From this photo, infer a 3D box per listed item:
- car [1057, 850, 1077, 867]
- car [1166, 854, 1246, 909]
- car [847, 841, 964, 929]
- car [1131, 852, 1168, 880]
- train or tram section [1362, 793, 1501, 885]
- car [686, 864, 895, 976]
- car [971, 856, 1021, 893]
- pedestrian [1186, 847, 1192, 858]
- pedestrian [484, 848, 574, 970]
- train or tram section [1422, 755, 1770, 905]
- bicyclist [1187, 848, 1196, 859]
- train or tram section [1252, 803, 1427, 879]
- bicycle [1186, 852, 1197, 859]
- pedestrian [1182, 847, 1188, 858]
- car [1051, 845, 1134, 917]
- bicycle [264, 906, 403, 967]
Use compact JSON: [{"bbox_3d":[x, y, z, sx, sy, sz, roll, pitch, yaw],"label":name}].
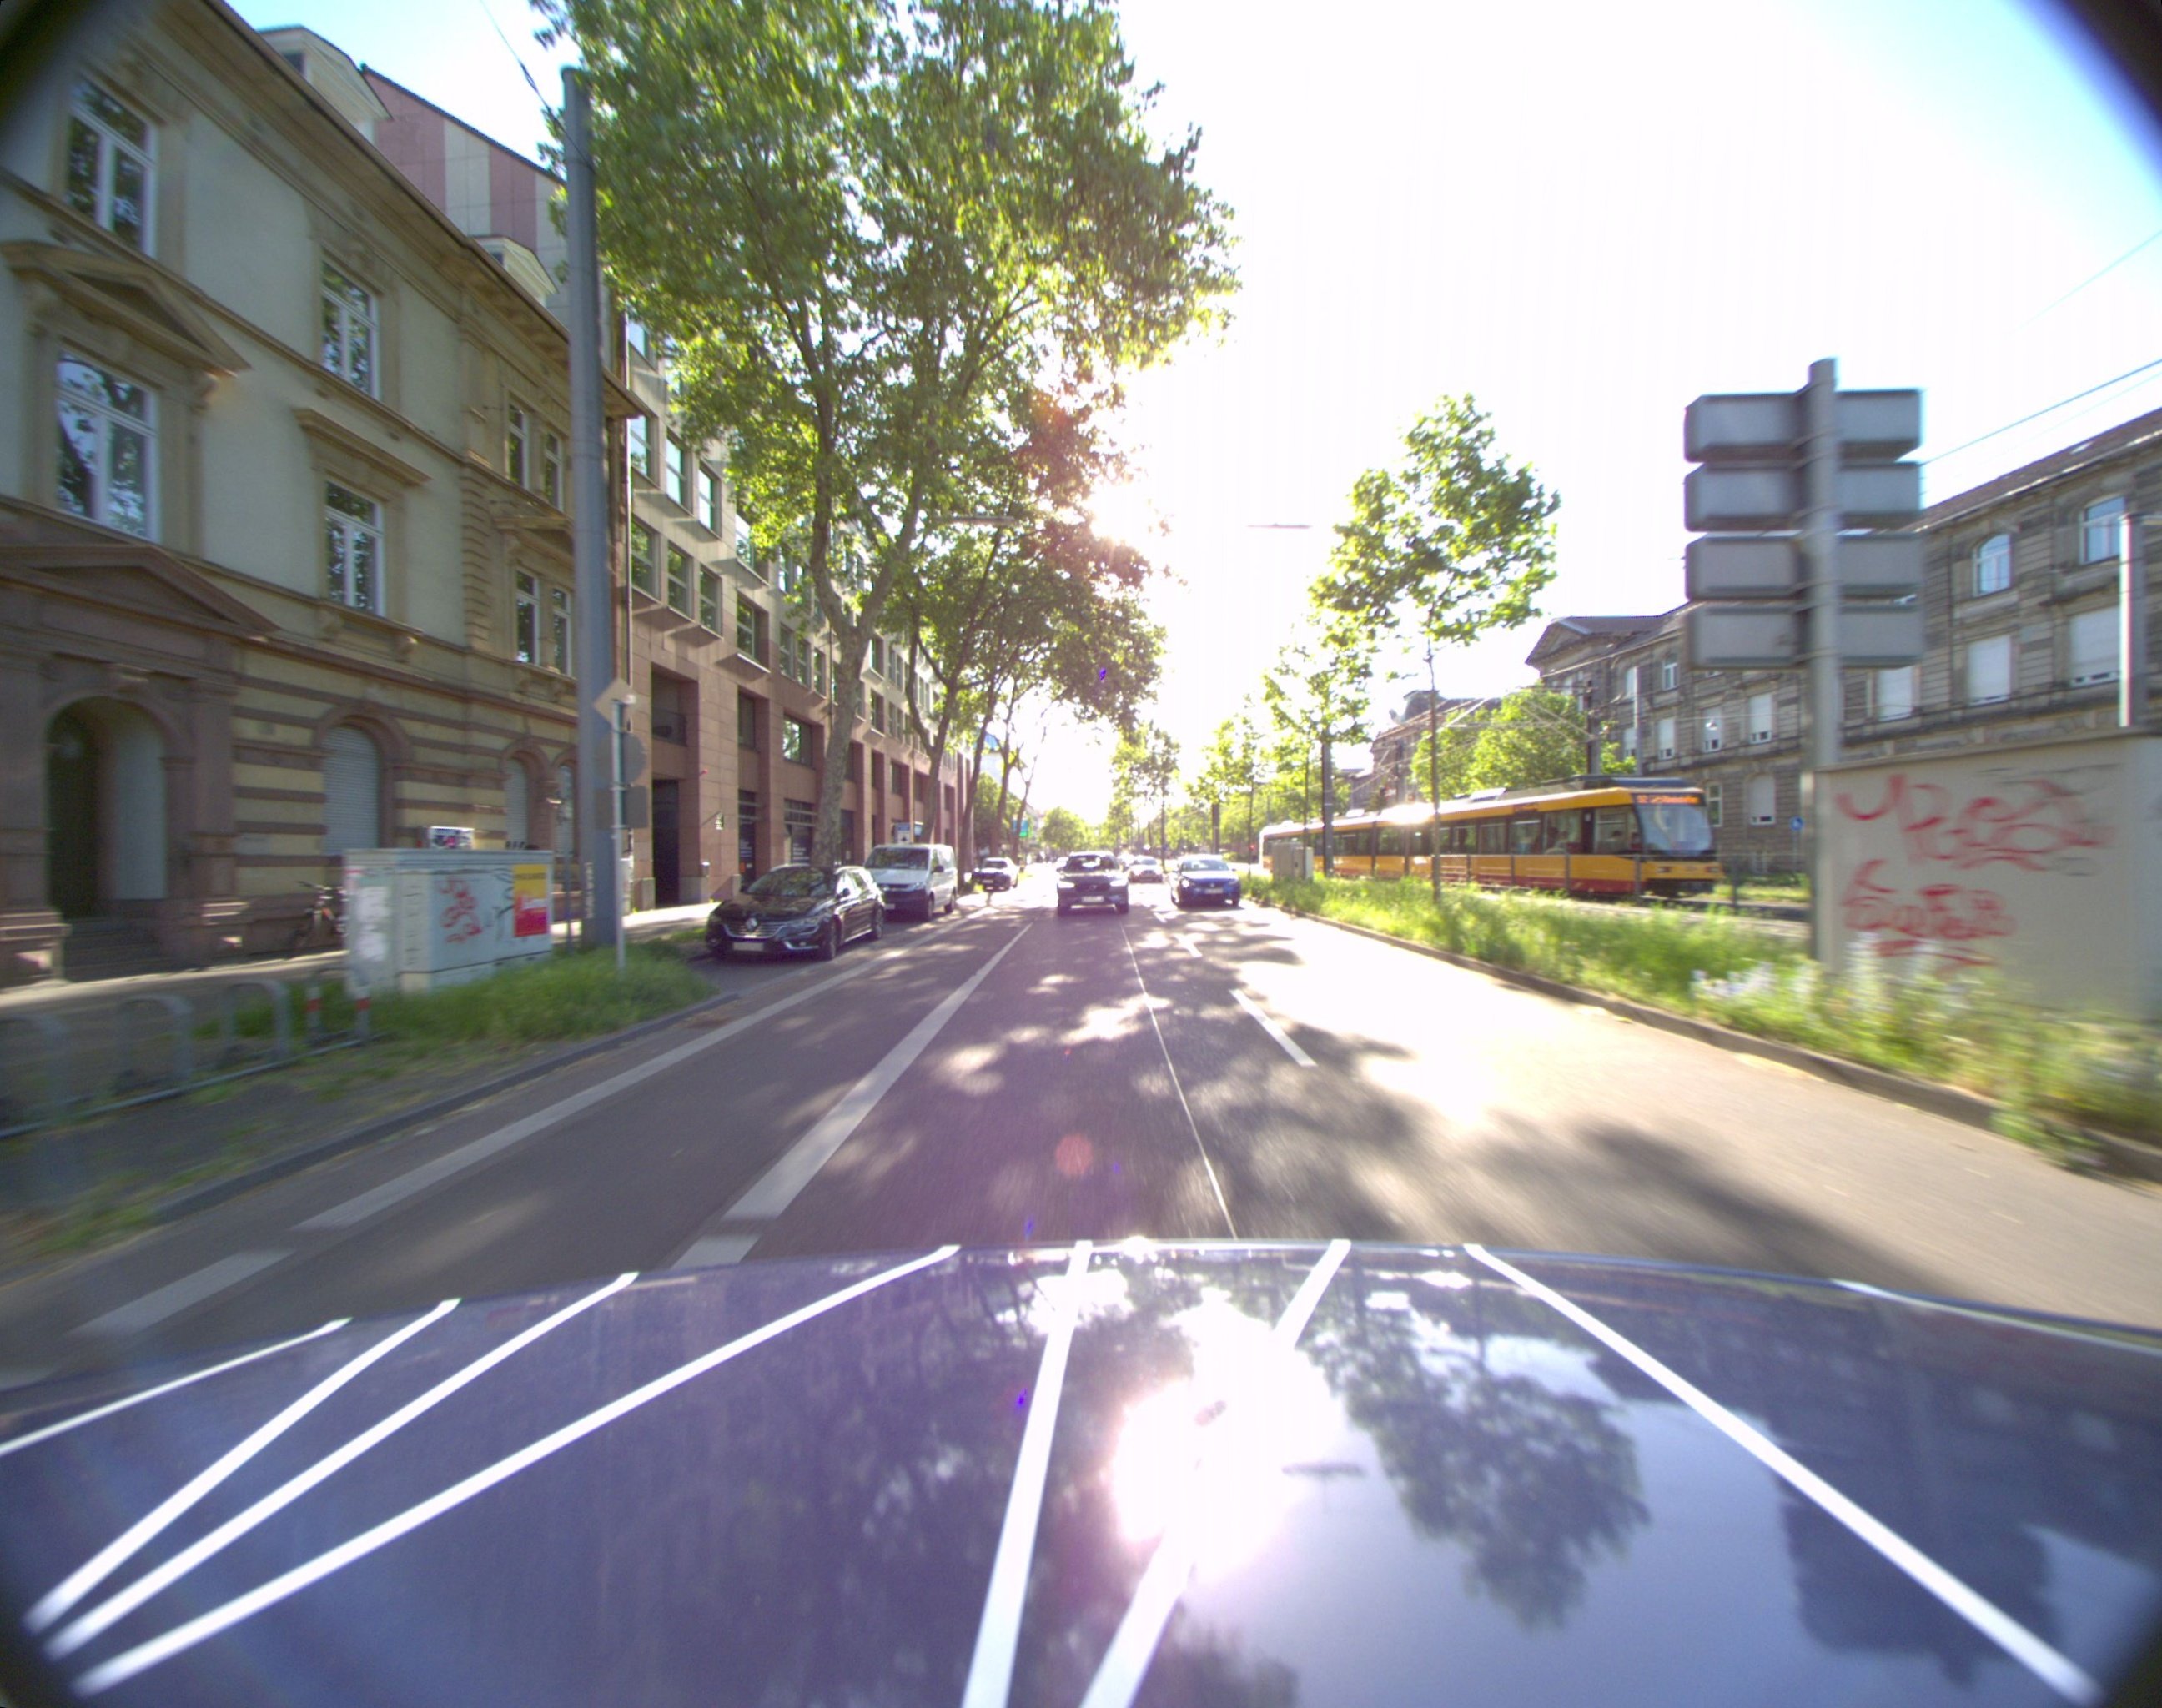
[{"bbox_3d":[-1.386,0.482,78.554,1.833,1.609,4.000,-2,0,1],"label":"car"},{"bbox_3d":[3.644,0.753,22.727,1.777,1.439,3.869,-2,0,1],"label":"car"},{"bbox_3d":[-4.519,0.729,20.325,1.861,2.002,4.723,-2,0,1],"label":"car"},{"bbox_3d":[3.845,0.659,43.473,1.798,1.420,4.000,-2,0,1],"label":"car"},{"bbox_3d":[14.650,-0.565,32.386,2.964,3.463,6.059,-2,0,-1],"label":"train or tram section"},{"bbox_3d":[-4.738,0.976,13.243,1.823,1.506,4.707,0,0,0],"label":"car"},{"bbox_3d":[-4.003,0.930,36.512,1.672,1.561,4.280,-2,0,2],"label":"car"},{"bbox_3d":[17.306,-0.233,121.373,0.595,1.666,0.698,-3,1,-31],"label":"pedestrian"},{"bbox_3d":[-8.589,0.826,11.865,0.644,1.817,0.895,-2,1,2],"label":"pedestrian"},{"bbox_3d":[14.828,-0.566,23.752,2.969,3.463,11.285,-2,0,-1],"label":"train or tram section"},{"bbox_3d":[17.392,-0.104,119.547,0.970,1.634,0.833,-3,1,-31],"label":"bicyclist"},{"bbox_3d":[14.453,-0.585,46.022,2.971,3.463,21.215,-2,0,-1],"label":"train or tram section"},{"bbox_3d":[17.388,0.192,119.541,1.666,1.035,0.543,-2,1,-30],"label":"bicycle"},{"bbox_3d":[17.047,-0.202,124.734,0.595,1.735,0.698,-3,1,-31],"label":"pedestrian"},{"bbox_3d":[0.288,0.637,20.644,1.949,1.690,5.306,-1,0,0],"label":"car"},{"bbox_3d":[-11.796,1.272,12.064,0.550,0.769,1.663,1,0,1],"label":"bicycle"}]
